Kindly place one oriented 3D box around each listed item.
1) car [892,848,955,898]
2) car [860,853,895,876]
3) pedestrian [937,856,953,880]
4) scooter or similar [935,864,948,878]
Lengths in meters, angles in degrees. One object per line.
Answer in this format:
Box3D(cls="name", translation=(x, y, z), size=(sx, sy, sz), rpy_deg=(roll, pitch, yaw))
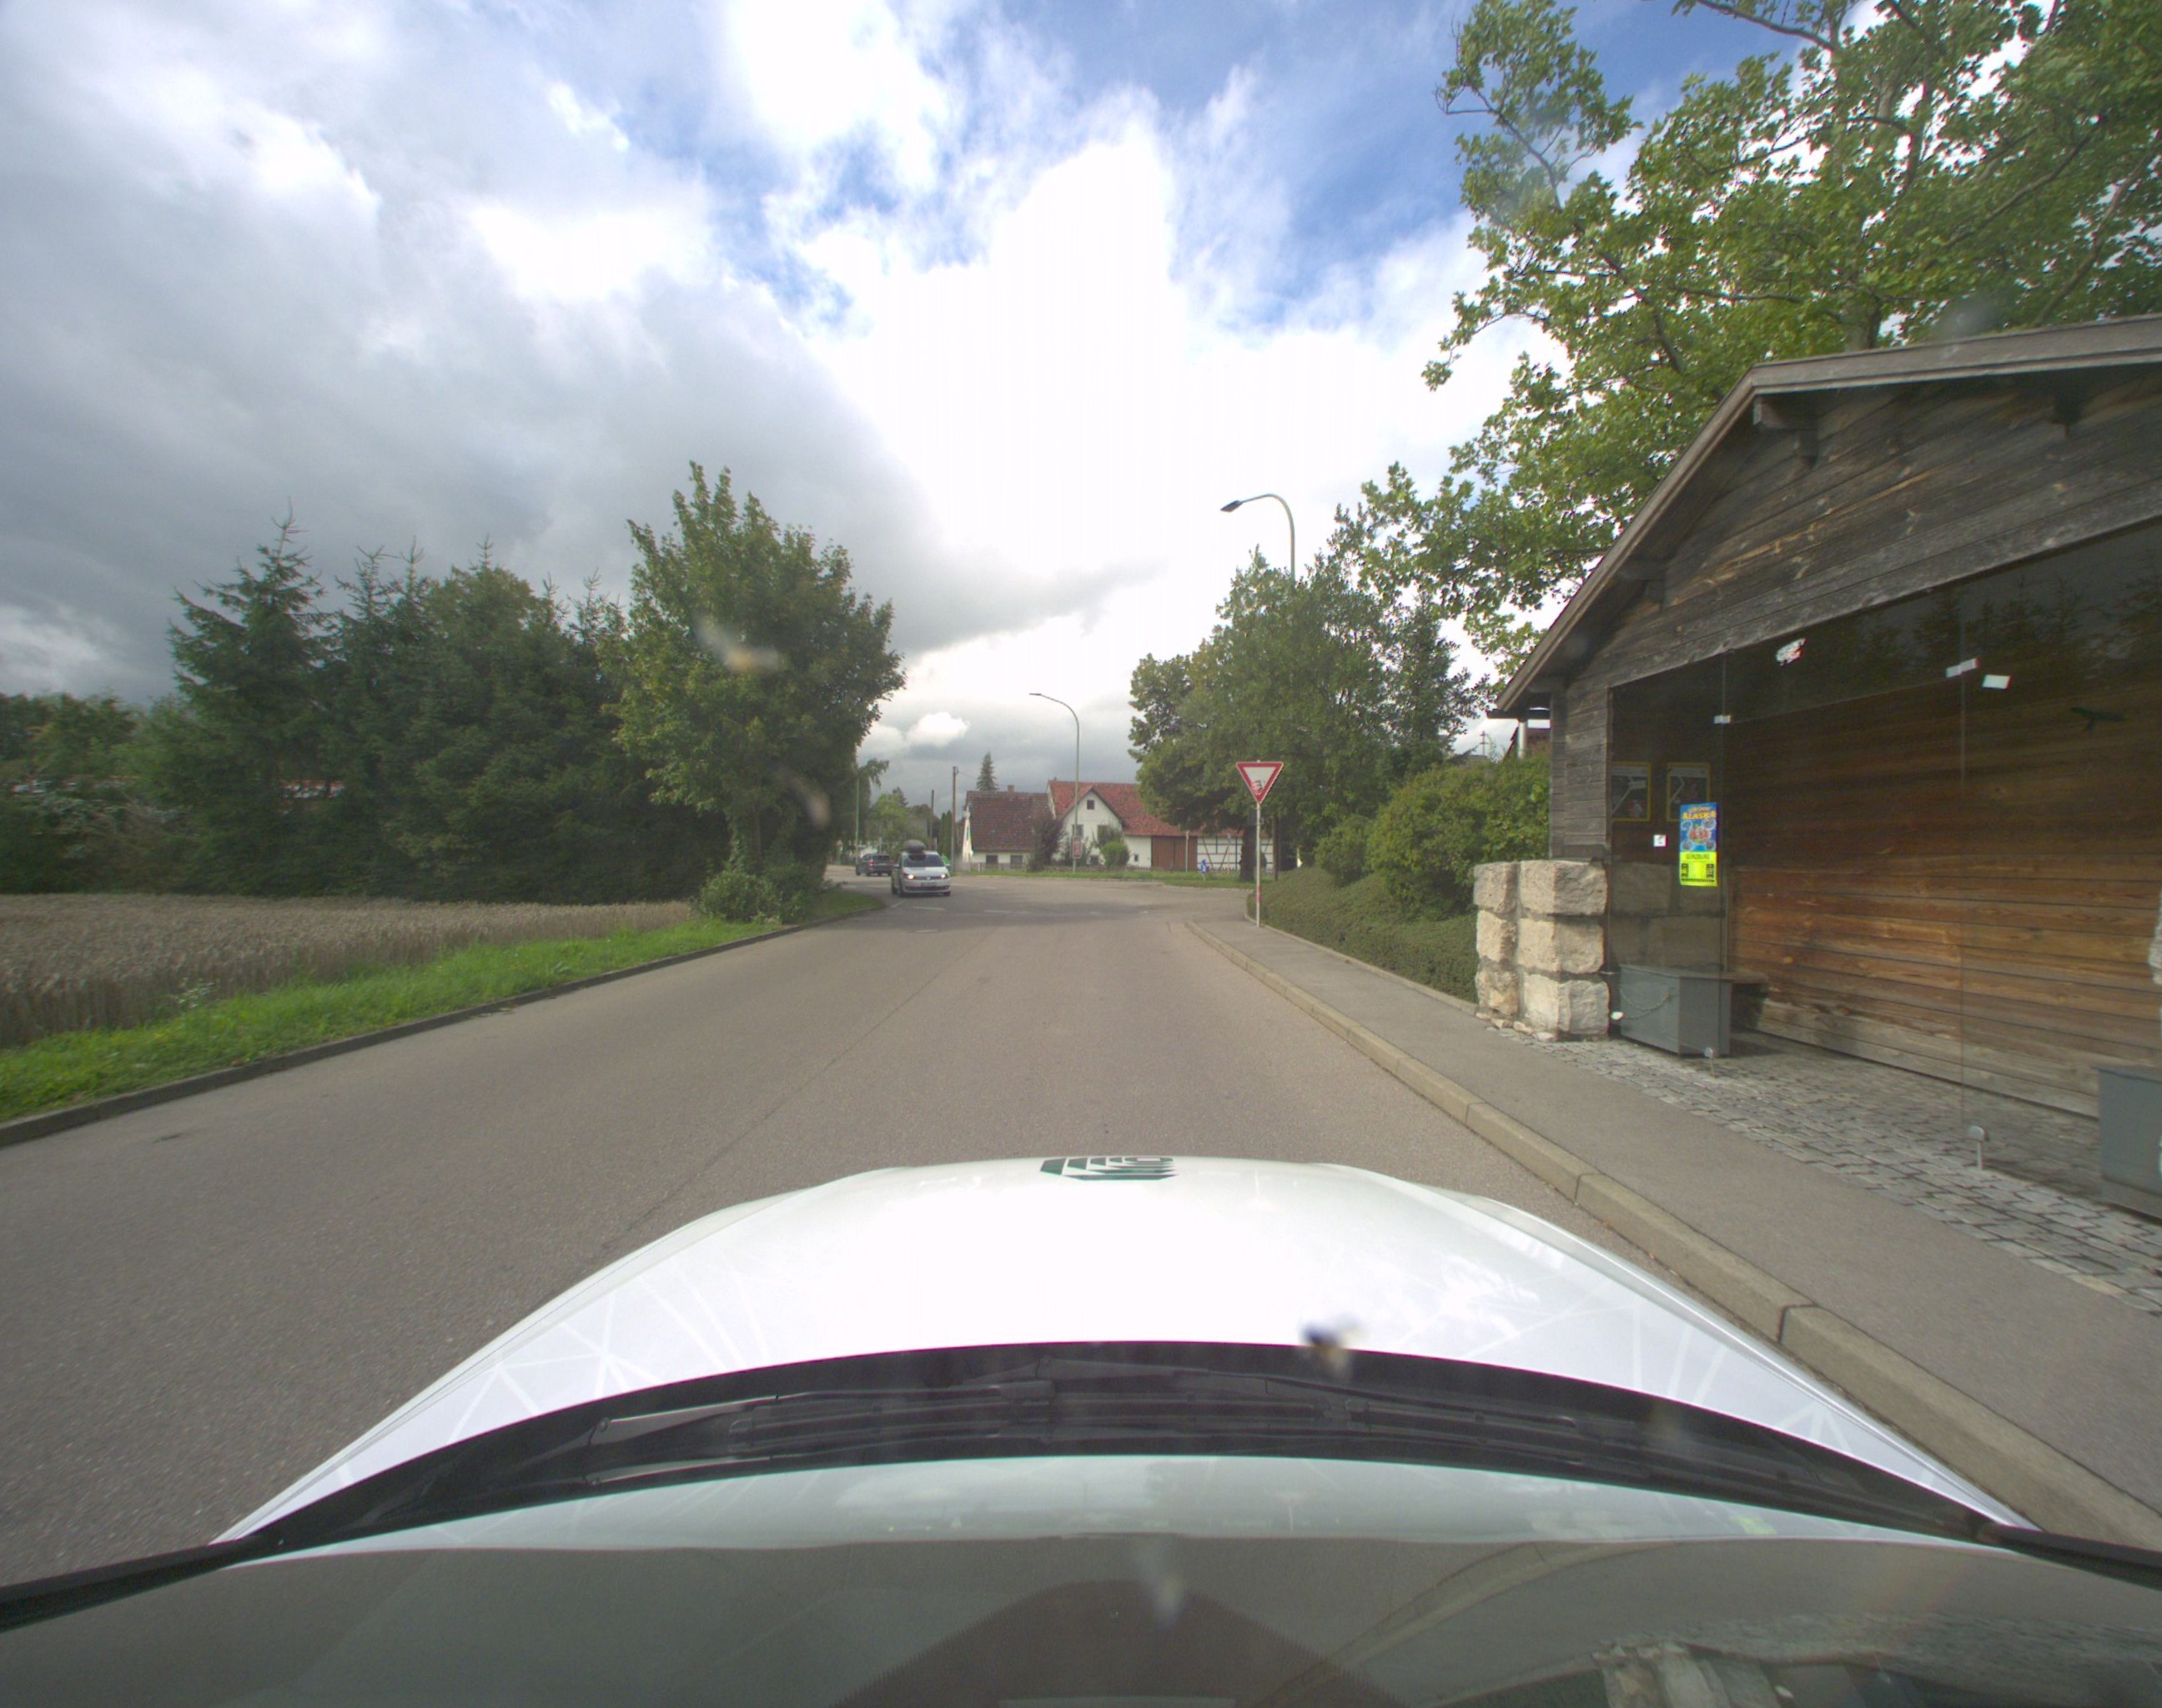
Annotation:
Box3D(cls="car", translation=(-5.849, 0.659, 29.904), size=(1.704, 1.665, 4.006), rpy_deg=(-1, 0, -19))
Box3D(cls="car", translation=(-14.370, 0.740, 57.283), size=(2.000, 1.552, 3.974), rpy_deg=(1, 0, -20))
Box3D(cls="pedestrian", translation=(-9.713, 0.982, 58.193), size=(0.794, 1.665, 0.705), rpy_deg=(6, -3, -32))
Box3D(cls="scooter or similar", translation=(-10.083, 1.223, 58.894), size=(0.635, 0.948, 0.616), rpy_deg=(6, -3, -32))
